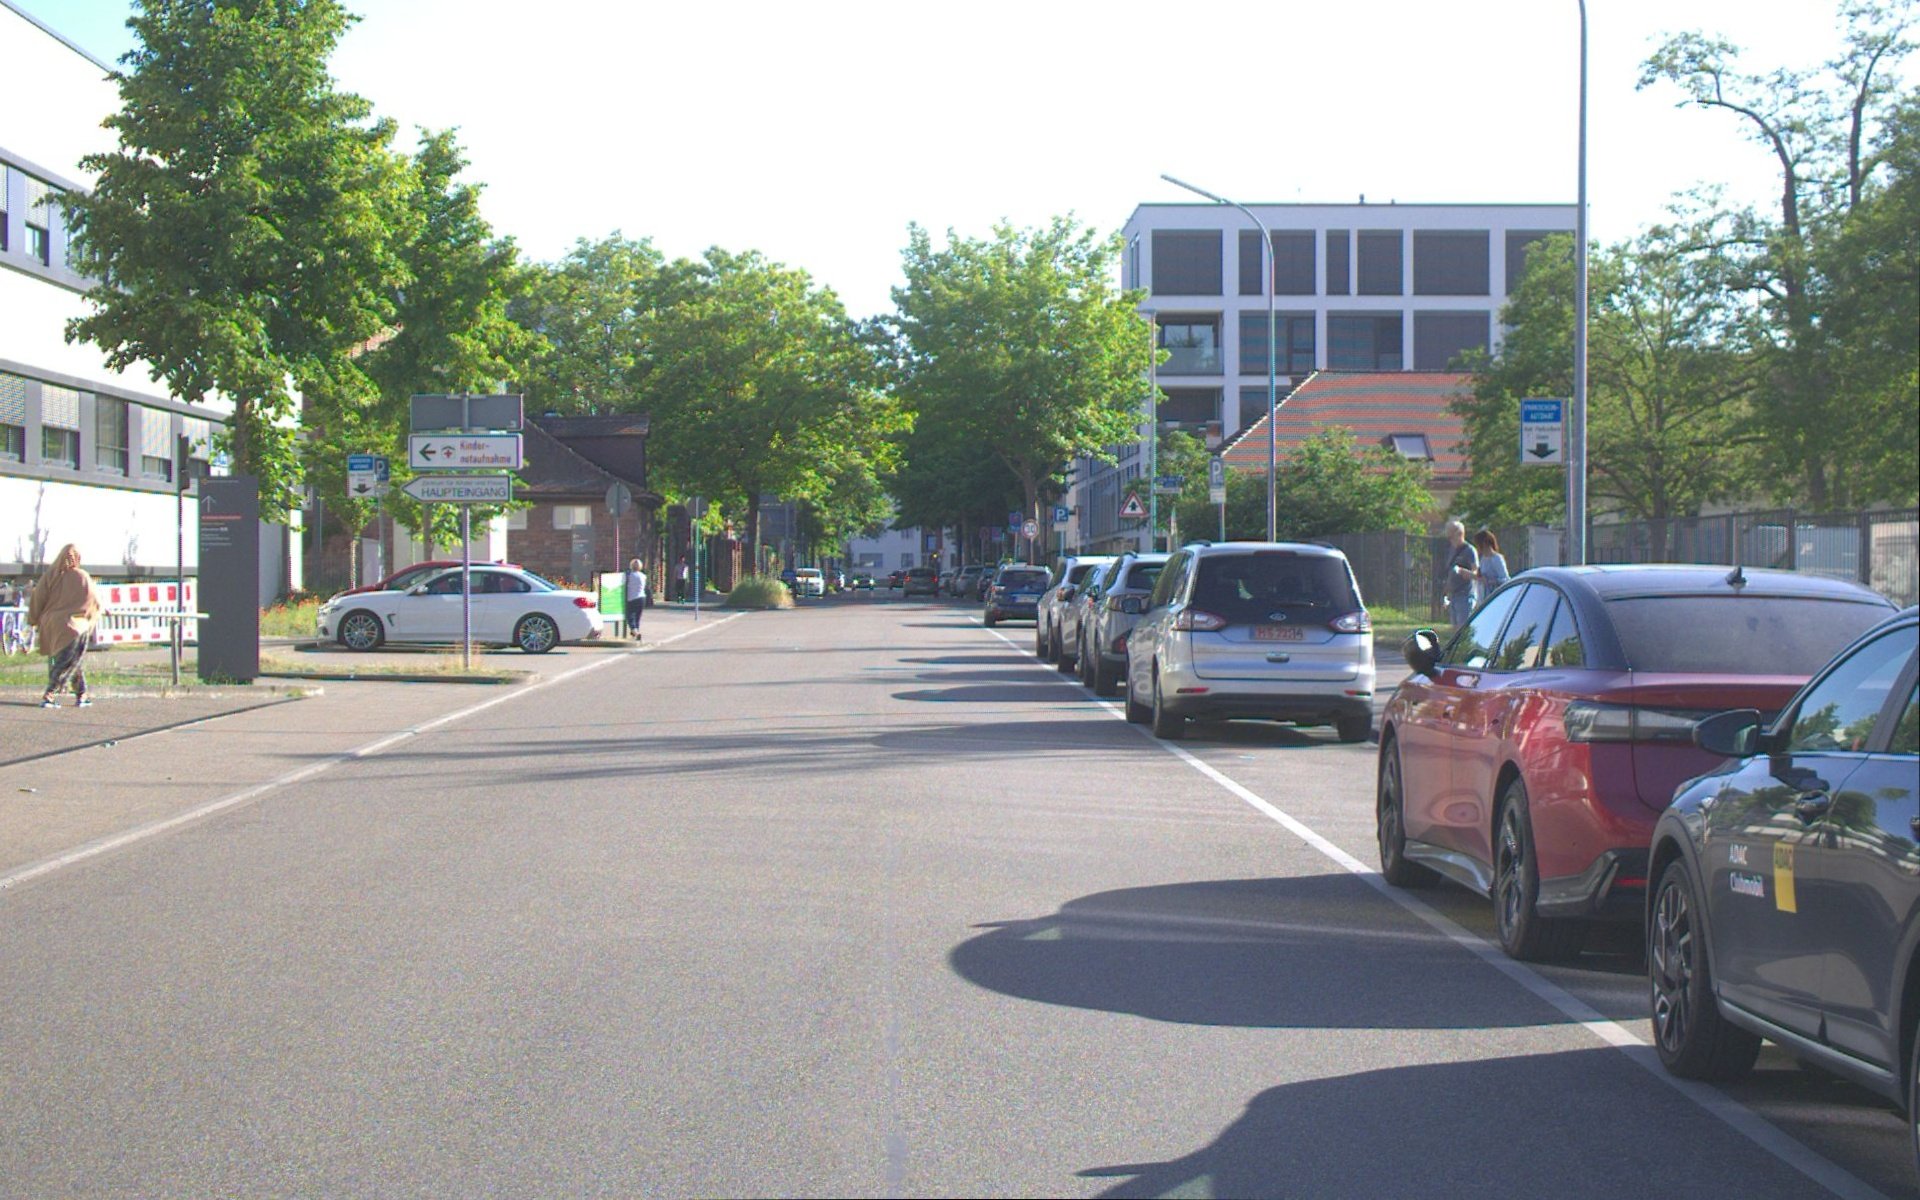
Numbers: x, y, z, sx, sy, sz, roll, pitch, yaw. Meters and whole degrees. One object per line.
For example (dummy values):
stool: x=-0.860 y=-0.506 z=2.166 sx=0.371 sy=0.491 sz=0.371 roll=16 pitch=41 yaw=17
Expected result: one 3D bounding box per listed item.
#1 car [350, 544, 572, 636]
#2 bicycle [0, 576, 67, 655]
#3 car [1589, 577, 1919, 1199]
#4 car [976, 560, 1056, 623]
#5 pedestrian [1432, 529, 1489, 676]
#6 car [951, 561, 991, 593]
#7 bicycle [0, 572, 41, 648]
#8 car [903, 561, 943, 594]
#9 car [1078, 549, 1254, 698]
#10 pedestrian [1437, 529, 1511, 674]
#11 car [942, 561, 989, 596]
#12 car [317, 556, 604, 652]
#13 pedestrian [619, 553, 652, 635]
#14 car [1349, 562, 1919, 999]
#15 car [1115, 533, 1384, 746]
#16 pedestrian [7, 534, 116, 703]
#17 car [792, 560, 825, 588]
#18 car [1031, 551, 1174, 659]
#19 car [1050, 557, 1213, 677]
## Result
car: x=-8.539 y=-0.184 z=59.068 sx=3.634 sy=1.464 sz=1.614 roll=1 pitch=1 yaw=-4
bicycle: x=-13.499 y=0.218 z=50.104 sx=0.534 sy=1.108 sz=1.861 roll=0 pitch=1 yaw=-2
car: x=2.941 y=0.720 z=8.806 sx=1.700 sy=1.482 sz=4.215 roll=2 pitch=1 yaw=-2
car: x=1.309 y=-0.218 z=81.478 sx=1.817 sy=1.448 sz=4.214 roll=0 pitch=1 yaw=0
pedestrian: x=5.892 y=0.033 z=40.480 sx=0.521 sy=1.703 sz=0.522 roll=2 pitch=0 yaw=-3
car: x=0.533 y=-1.151 z=171.571 sx=1.950 sy=1.573 sz=3.836 roll=0 pitch=0 yaw=0
bicycle: x=-14.352 y=0.141 z=52.040 sx=0.420 sy=1.119 sz=1.764 roll=0 pitch=1 yaw=0
car: x=-1.798 y=-1.087 z=166.033 sx=1.767 sy=1.543 sz=4.066 roll=0 pitch=0 yaw=-2
car: x=2.357 y=0.233 z=40.244 sx=1.700 sy=1.601 sz=4.353 roll=2 pitch=1 yaw=-1
pedestrian: x=5.804 y=0.014 z=38.819 sx=0.681 sy=1.606 sz=0.541 roll=2 pitch=0 yaw=-3
car: x=0.228 y=-0.891 z=142.565 sx=1.767 sy=1.435 sz=4.000 roll=0 pitch=0 yaw=-2
car: x=-8.122 y=0.052 z=56.197 sx=4.511 sy=1.363 sz=1.700 roll=2 pitch=0 yaw=-6
pedestrian: x=-6.040 y=-0.122 z=64.018 sx=0.538 sy=1.518 sz=0.607 roll=0 pitch=1 yaw=0
car: x=2.926 y=0.625 z=14.590 sx=1.809 sy=1.505 sz=4.722 roll=2 pitch=1 yaw=-2
car: x=2.512 y=0.296 z=30.926 sx=1.809 sy=1.716 sz=4.705 roll=2 pitch=1 yaw=-2
pedestrian: x=-8.437 y=0.171 z=32.306 sx=0.772 sy=1.544 sz=0.780 roll=2 pitch=0 yaw=-1
car: x=-8.033 y=-1.379 z=182.578 sx=1.767 sy=1.482 sz=4.000 roll=0 pitch=0 yaw=-2
car: x=2.188 y=0.048 z=53.818 sx=1.812 sy=1.583 sz=4.262 roll=2 pitch=1 yaw=-3
car: x=2.254 y=0.199 z=46.103 sx=1.700 sy=1.482 sz=3.981 roll=2 pitch=1 yaw=-4
